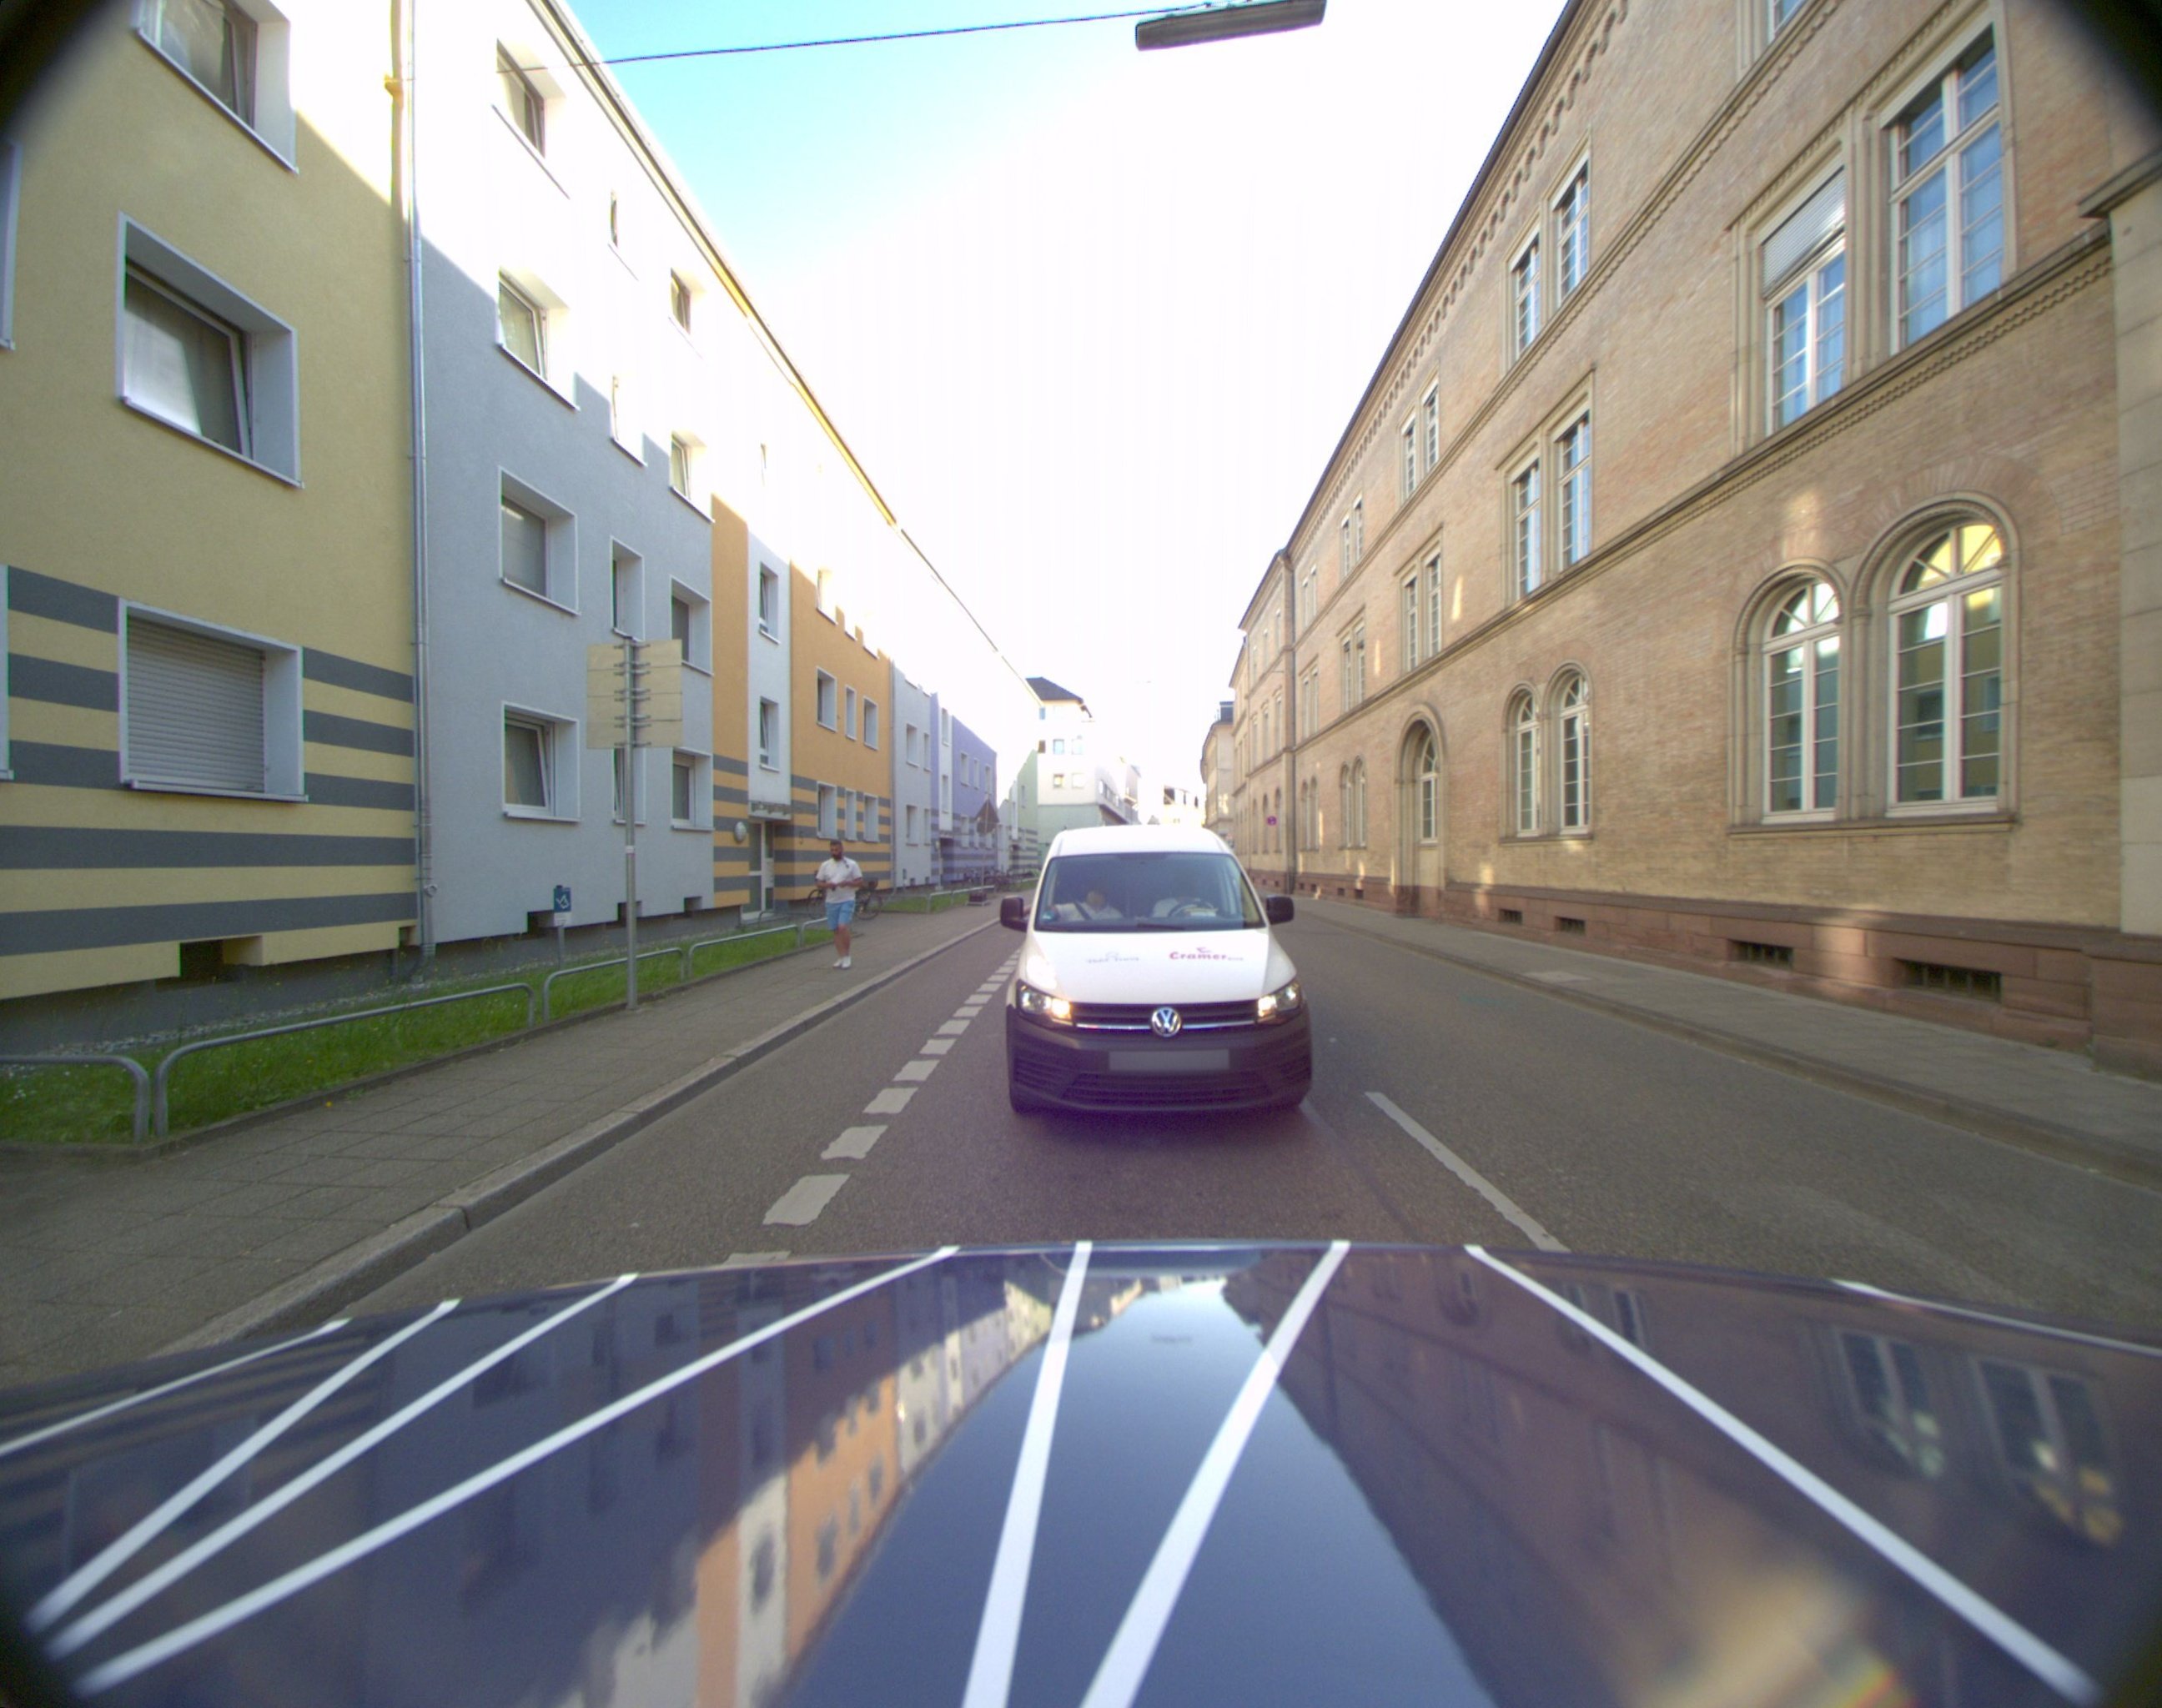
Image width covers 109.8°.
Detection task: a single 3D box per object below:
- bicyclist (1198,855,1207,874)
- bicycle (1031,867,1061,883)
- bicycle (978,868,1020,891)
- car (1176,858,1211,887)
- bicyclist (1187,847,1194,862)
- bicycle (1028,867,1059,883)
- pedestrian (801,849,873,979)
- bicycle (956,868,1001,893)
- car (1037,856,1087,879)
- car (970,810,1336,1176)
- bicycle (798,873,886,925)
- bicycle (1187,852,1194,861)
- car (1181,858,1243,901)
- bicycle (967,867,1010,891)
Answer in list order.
[{"bbox_3d":[9.130,0.758,56.975,0.604,1.434,0.578,0,0,4],"label":"bicyclist"},{"bbox_3d":[-2.215,1.298,47.664,1.775,0.934,0.584,1,1,7],"label":"bicycle"},{"bbox_3d":[-3.642,1.129,33.872,1.775,0.934,0.584,1,1,7],"label":"bicycle"},{"bbox_3d":[6.599,1.054,45.009,1.689,1.573,4.276,2,0,4],"label":"car"},{"bbox_3d":[11.928,0.076,82.987,0.651,1.558,0.961,2,0,7],"label":"bicyclist"},{"bbox_3d":[-2.295,1.267,46.127,1.775,0.934,0.584,1,1,7],"label":"bicycle"},{"bbox_3d":[-3.243,0.771,10.156,0.644,1.662,0.834,1,0,3],"label":"pedestrian"},{"bbox_3d":[-4.309,1.102,31.914,1.775,0.990,0.584,1,1,7],"label":"bicycle"},{"bbox_3d":[-1.570,1.122,63.530,3.995,1.681,1.901,-2,1,5],"label":"car"},{"bbox_3d":[0.399,0.705,6.477,1.819,1.825,5.341,0,0,1],"label":"car"},{"bbox_3d":[-5.381,1.008,17.158,1.776,1.118,0.583,1,1,-1],"label":"bicycle"},{"bbox_3d":[11.931,0.300,82.997,0.651,1.001,1.807,2,0,7],"label":"bicycle"},{"bbox_3d":[5.071,0.952,29.960,1.891,1.467,4.546,2,0,3],"label":"car"},{"bbox_3d":[-4.032,1.092,33.256,1.775,0.990,0.584,1,1,7],"label":"bicycle"}]
